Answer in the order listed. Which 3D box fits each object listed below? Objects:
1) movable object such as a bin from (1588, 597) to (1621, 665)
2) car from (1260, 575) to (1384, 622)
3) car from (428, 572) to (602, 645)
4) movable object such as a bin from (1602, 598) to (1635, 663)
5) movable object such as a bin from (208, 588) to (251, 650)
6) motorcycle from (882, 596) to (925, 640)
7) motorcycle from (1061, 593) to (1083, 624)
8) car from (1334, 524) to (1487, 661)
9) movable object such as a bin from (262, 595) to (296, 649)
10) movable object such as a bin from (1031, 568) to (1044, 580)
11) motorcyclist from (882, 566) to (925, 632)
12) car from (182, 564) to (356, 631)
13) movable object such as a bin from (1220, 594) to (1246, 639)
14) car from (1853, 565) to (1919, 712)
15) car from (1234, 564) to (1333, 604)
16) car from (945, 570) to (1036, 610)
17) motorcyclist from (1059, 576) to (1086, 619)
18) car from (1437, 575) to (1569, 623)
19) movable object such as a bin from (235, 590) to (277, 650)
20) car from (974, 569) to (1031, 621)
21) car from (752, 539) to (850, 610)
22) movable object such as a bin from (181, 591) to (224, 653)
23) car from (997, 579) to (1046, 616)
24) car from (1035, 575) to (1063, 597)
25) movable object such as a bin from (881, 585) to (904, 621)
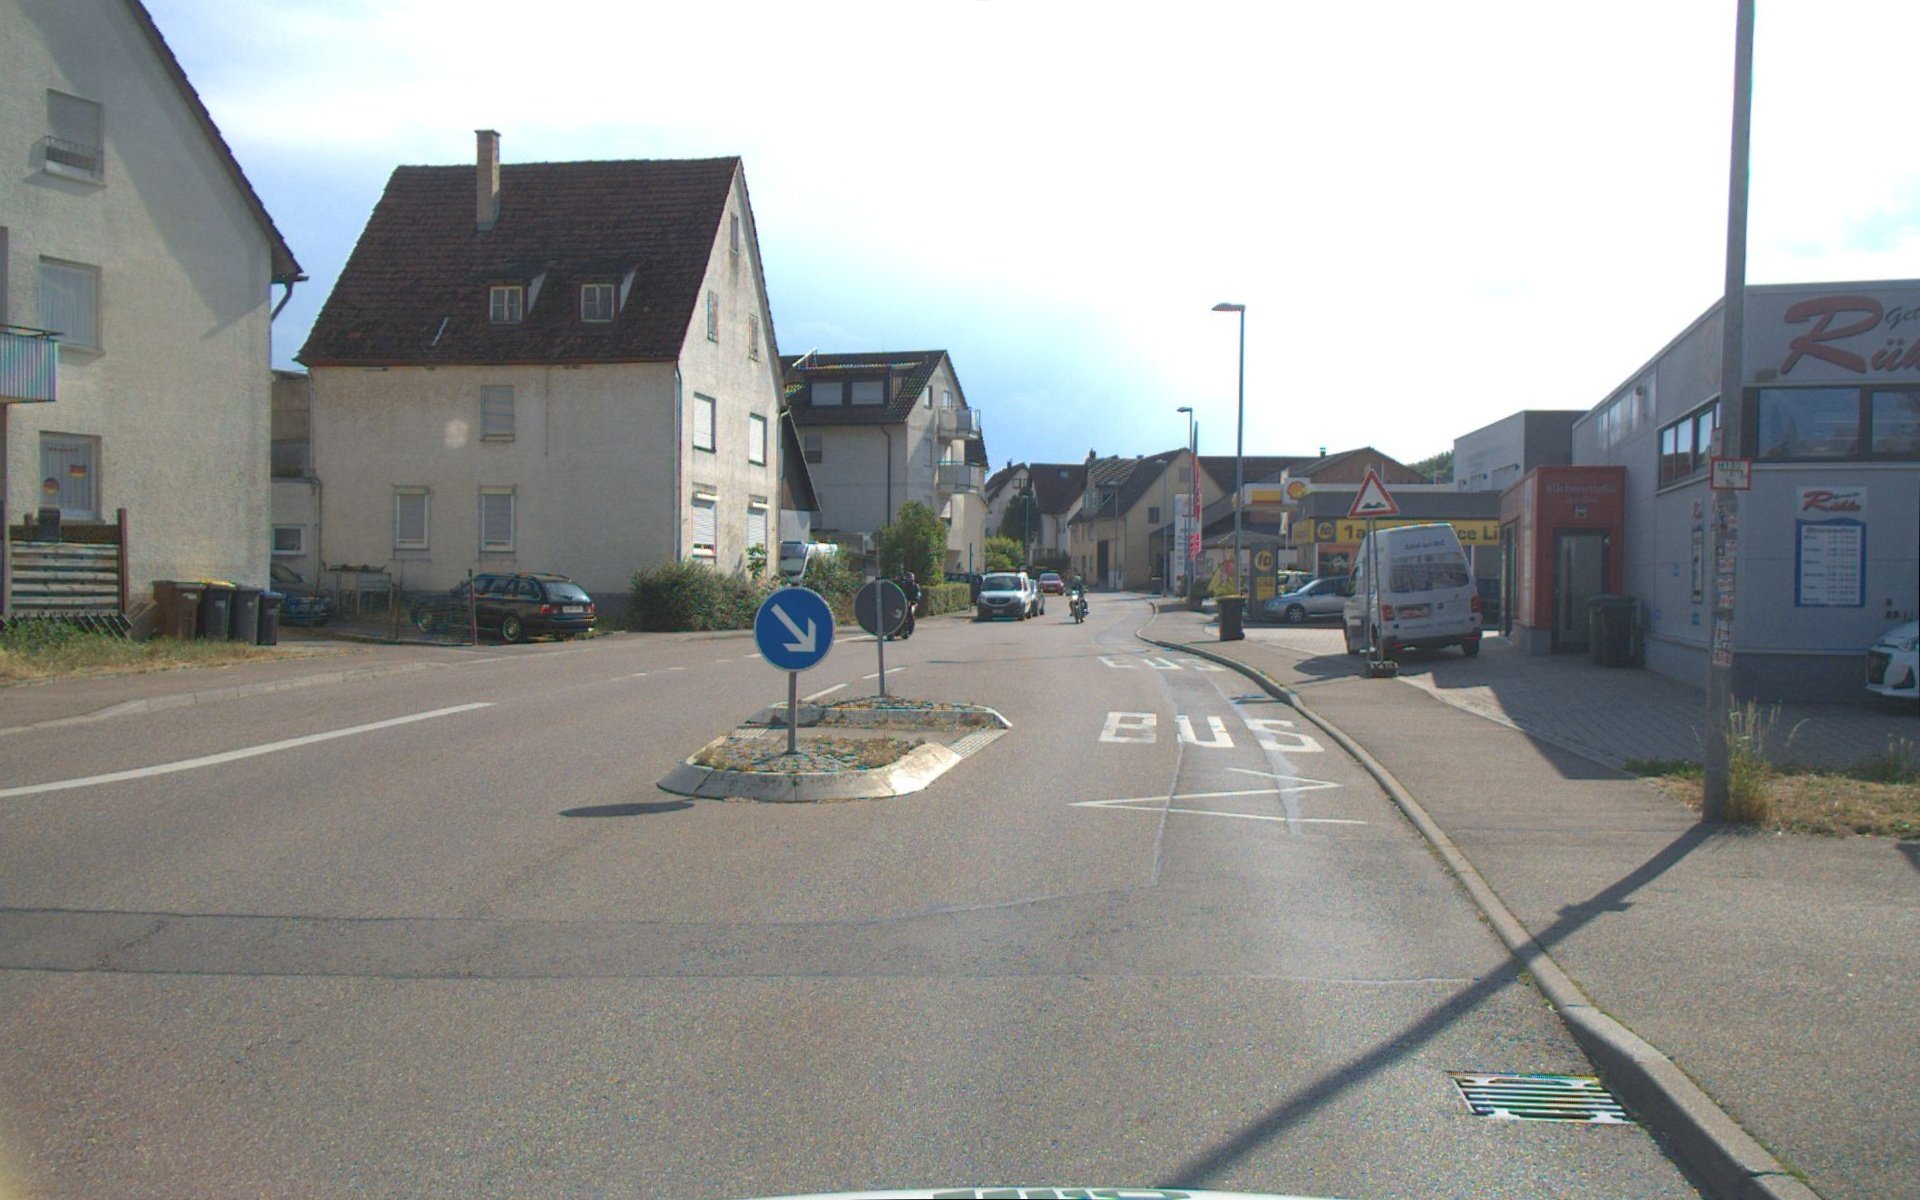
[{"bbox_3d":[10.233,0.491,26.266,0.420,1.060,0.490,1,1,14],"label":"movable object such as a bin"},{"bbox_3d":[12.096,-0.065,55.445,3.903,1.558,1.528,0,1,4],"label":"car"},{"bbox_3d":[-10.037,0.162,37.202,3.919,1.458,1.648,2,2,35],"label":"car"},{"bbox_3d":[10.166,0.470,25.538,0.420,0.983,0.431,1,1,14],"label":"movable object such as a bin"},{"bbox_3d":[-12.566,0.331,28.459,0.354,1.059,0.557,1,-1,23],"label":"movable object such as a bin"},{"bbox_3d":[-1.383,0.433,40.805,0.527,1.030,2.029,3,0,12],"label":"motorcycle"},{"bbox_3d":[3.942,0.291,58.099,0.513,1.030,2.029,2,0,11],"label":"motorcycle"},{"bbox_3d":[8.671,-0.175,32.249,1.798,2.416,5.181,-1,1,3],"label":"car"},{"bbox_3d":[-12.143,0.392,29.499,0.354,0.941,0.400,1,-1,23],"label":"movable object such as a bin"},{"bbox_3d":[7.569,-2.554,161.669,1.138,1.188,0.654,0,1,-6],"label":"movable object such as a bin"},{"bbox_3d":[-1.387,-0.029,40.654,0.720,1.553,1.017,3,0,13],"label":"motorcyclist"},{"bbox_3d":[-16.090,-0.080,38.478,3.912,1.384,1.683,3,2,29],"label":"car"},{"bbox_3d":[6.678,0.397,40.509,0.555,1.094,0.573,-1,1,2],"label":"movable object such as a bin"},{"bbox_3d":[11.383,0.359,17.145,3.480,1.482,1.499,-1,1,16],"label":"car"},{"bbox_3d":[13.522,-0.681,69.337,3.902,1.636,2.002,1,1,6],"label":"car"},{"bbox_3d":[1.473,-0.492,79.529,3.905,1.564,1.764,5,3,18],"label":"car"},{"bbox_3d":[3.937,-0.105,58.006,0.785,1.461,1.038,2,1,10],"label":"motorcyclist"},{"bbox_3d":[17.905,-0.039,54.689,3.822,1.493,1.718,0,3,3],"label":"car"},{"bbox_3d":[-12.336,0.347,28.999,0.354,1.041,0.577,1,-1,23],"label":"movable object such as a bin"},{"bbox_3d":[1.635,-0.217,62.450,1.680,1.905,4.196,-1,1,8],"label":"car"},{"bbox_3d":[-6.193,-1.020,65.126,2.112,2.641,6.100,1,1,11],"label":"car"},{"bbox_3d":[-12.793,0.370,27.931,0.354,1.034,0.557,1,-1,23],"label":"movable object such as a bin"},{"bbox_3d":[2.559,-0.129,68.182,1.637,1.477,3.838,0,1,8],"label":"car"},{"bbox_3d":[6.048,-0.974,112.463,1.674,1.460,3.780,-1,1,0],"label":"car"},{"bbox_3d":[-2.123,0.094,51.937,0.598,1.120,0.576,2,0,7],"label":"movable object such as a bin"}]
